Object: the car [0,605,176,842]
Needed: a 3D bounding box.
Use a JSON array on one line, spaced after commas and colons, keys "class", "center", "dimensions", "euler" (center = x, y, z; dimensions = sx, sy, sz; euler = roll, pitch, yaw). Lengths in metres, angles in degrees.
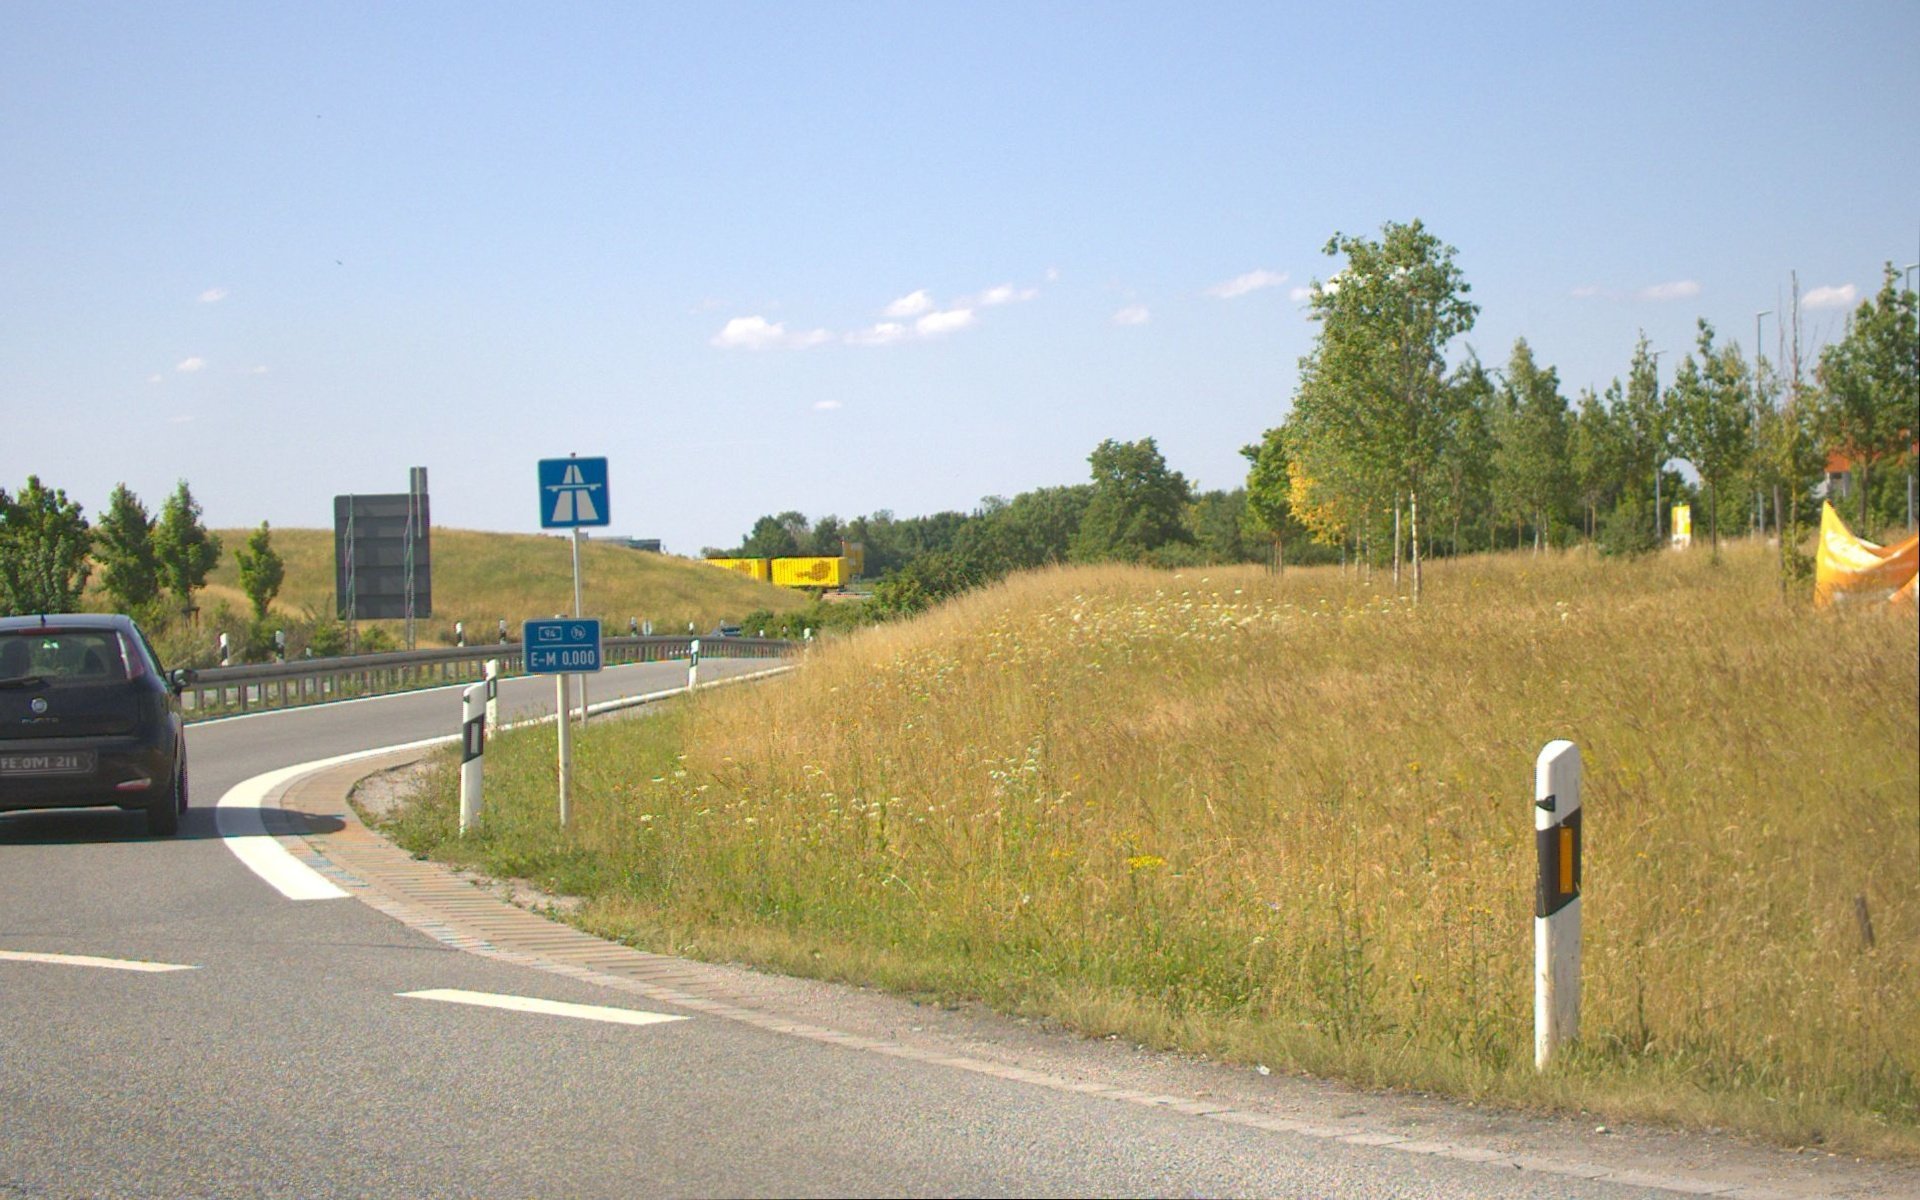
[{"class": "car", "center": [-6.350, 0.798, 23.807], "dimensions": [1.639, 1.482, 3.905], "euler": [-1, 0, -15]}]
